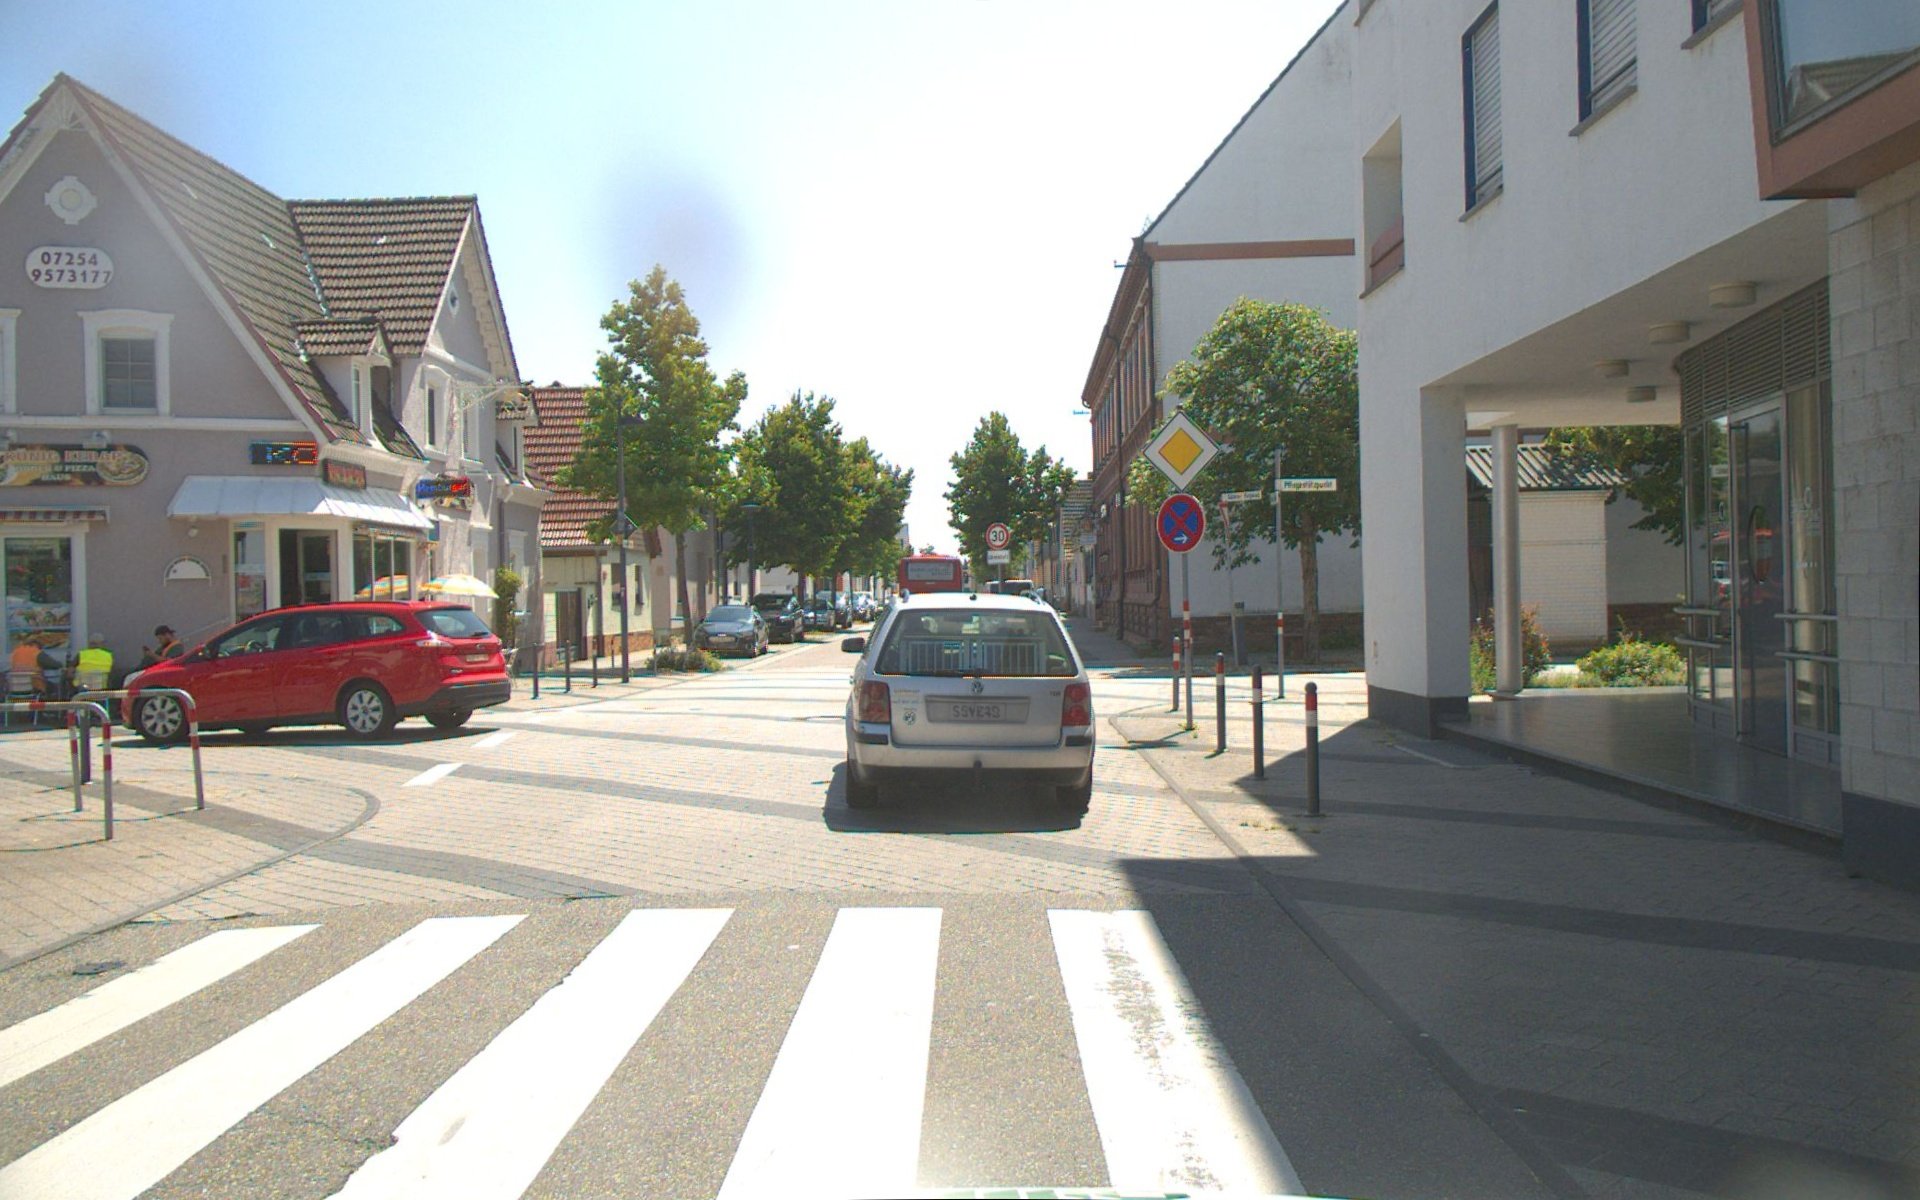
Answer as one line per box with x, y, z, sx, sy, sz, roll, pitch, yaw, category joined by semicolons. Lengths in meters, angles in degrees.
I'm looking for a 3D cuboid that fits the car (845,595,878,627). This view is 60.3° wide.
-5.961;0.646;100.465;1.685;1.833;4.000;-1;0;0;car

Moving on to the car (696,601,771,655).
-6.499;0.775;47.835;1.572;1.463;4.065;-1;0;0;car

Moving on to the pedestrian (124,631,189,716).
-11.765;1.073;24.231;0.609;1.199;0.696;-1;0;-4;pedestrian

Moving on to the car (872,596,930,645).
-1.770;0.603;50.476;1.561;1.455;3.680;0;0;1;car

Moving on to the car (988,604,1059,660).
1.613;0.807;43.148;1.684;1.332;3.625;-1;0;0;car

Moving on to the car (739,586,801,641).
-6.791;0.478;59.445;1.728;1.870;3.788;-1;0;0;car

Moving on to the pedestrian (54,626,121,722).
-12.237;1.024;23.191;0.631;1.311;0.777;1;-1;-43;pedestrian

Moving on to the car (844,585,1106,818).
0.101;0.637;12.188;1.642;1.455;3.679;0;0;0;car

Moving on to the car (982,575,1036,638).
1.695;0.232;58.354;1.751;2.118;3.625;-1;0;0;car

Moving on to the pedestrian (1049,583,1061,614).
5.433;-0.085;94.346;0.594;1.696;0.789;-1;0;-1;pedestrian

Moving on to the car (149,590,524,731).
-6.944;0.662;18.536;3.589;1.455;1.684;-1;0;14;car

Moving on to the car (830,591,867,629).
-6.254;0.552;92.899;1.774;2.030;4.000;-1;0;0;car

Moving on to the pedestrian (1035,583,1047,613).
4.663;-0.136;94.744;0.594;1.696;0.789;-1;0;-1;pedestrian

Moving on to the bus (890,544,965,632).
-1.236;-0.426;69.729;2.683;3.356;12.706;-1;0;1;bus

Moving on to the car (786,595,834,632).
-6.696;0.598;74.161;1.774;1.586;4.000;-1;0;0;car

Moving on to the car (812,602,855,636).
-6.169;0.912;80.895;1.774;1.586;4.000;-1;0;0;car

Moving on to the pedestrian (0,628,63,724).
-13.153;1.056;23.378;0.631;1.311;0.777;1;-1;-43;pedestrian
